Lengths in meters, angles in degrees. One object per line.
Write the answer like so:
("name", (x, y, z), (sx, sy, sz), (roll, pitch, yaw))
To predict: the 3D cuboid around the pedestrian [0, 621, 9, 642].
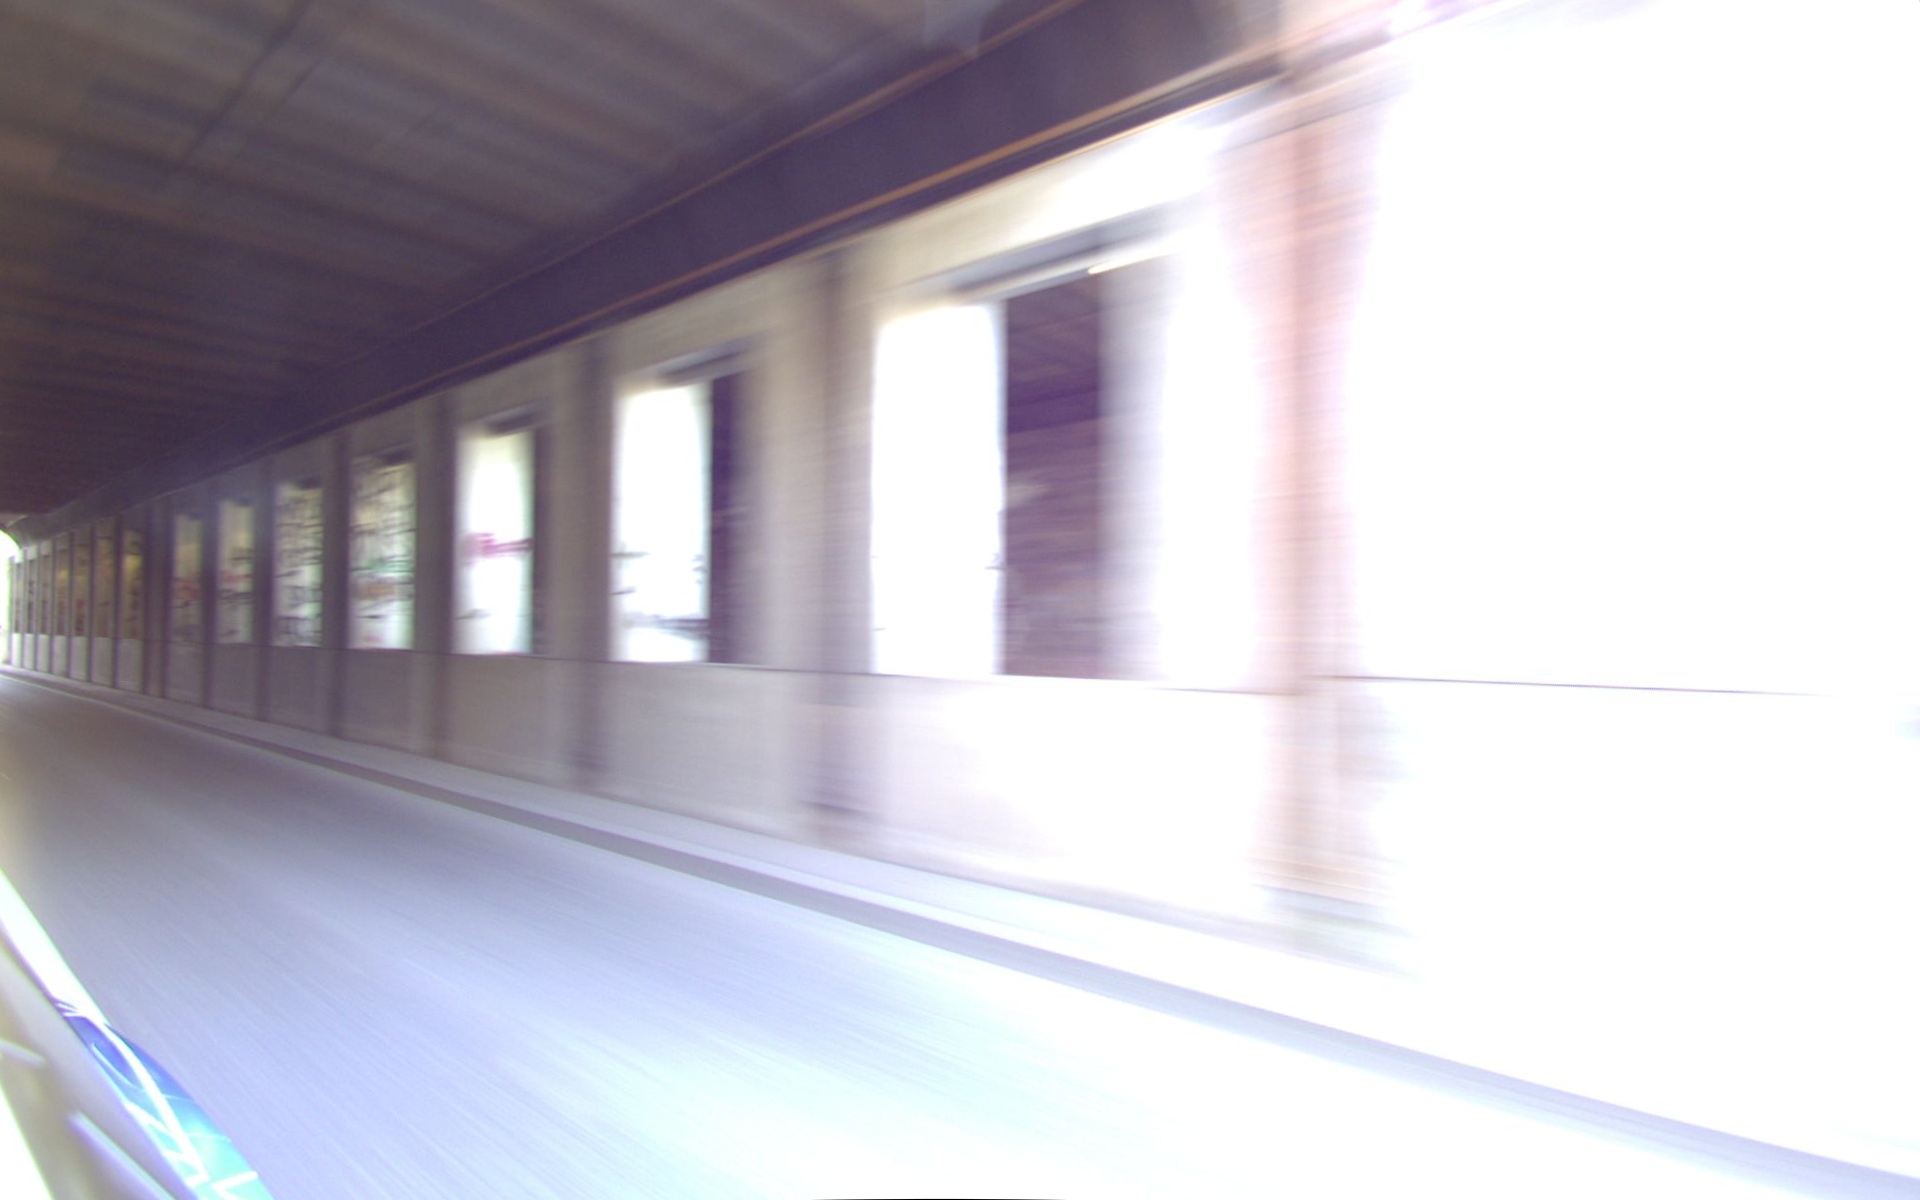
("pedestrian", (-76.575, 2.513, 80.829), (1.181, 1.641, 0.823), (-2, -1, 44))
